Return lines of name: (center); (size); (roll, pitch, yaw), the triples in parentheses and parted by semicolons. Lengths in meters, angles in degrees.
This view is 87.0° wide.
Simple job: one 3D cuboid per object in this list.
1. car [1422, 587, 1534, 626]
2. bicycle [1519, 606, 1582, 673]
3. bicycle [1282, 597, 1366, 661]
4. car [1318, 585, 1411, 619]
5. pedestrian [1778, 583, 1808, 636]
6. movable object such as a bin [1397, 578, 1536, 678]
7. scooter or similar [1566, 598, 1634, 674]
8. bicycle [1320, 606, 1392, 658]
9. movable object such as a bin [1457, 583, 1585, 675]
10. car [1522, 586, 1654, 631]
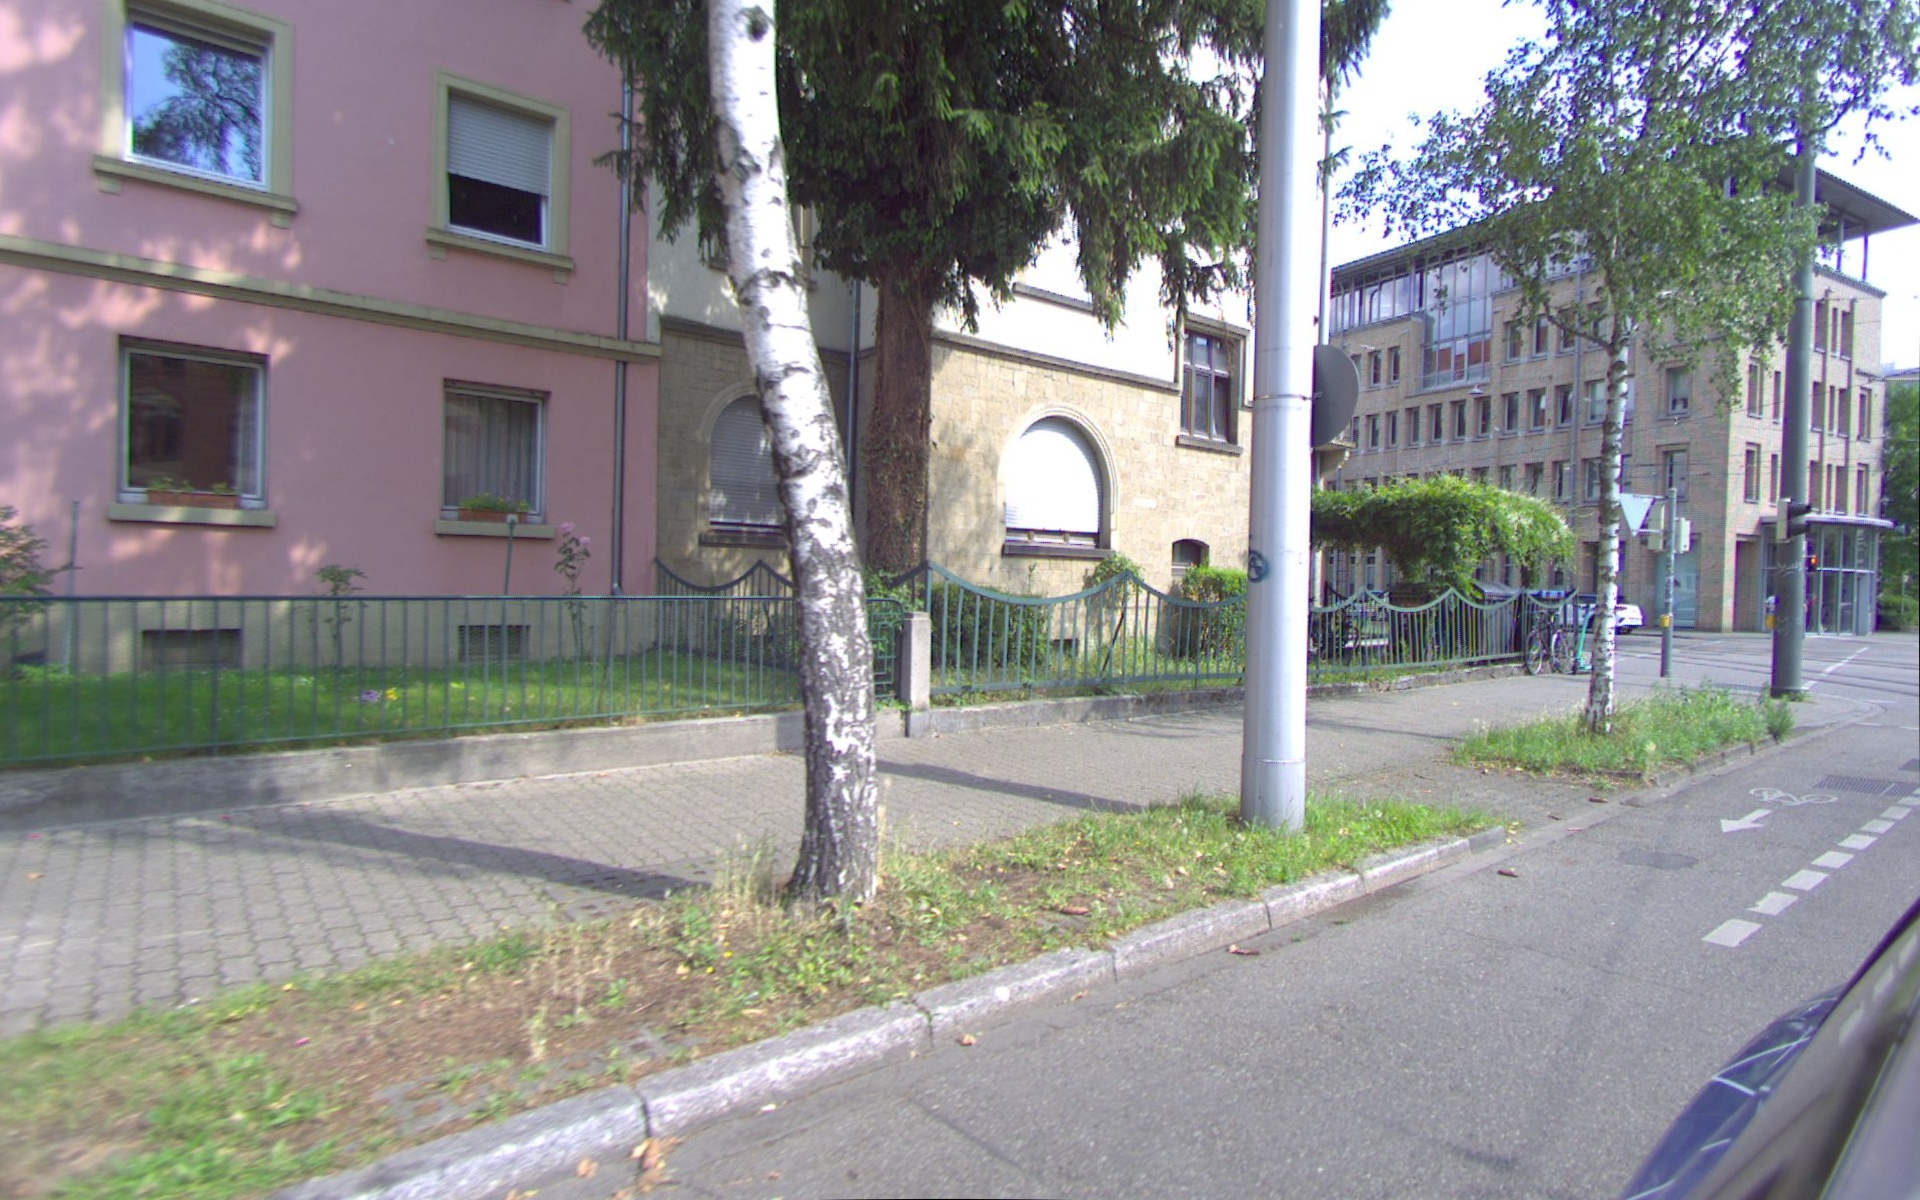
car: (21.997, 0.257, 43.137); (1.642, 1.440, 4.006); (3, 0, -28)
bicycle: (9.676, 0.635, 16.572); (1.454, 1.034, 0.350); (1, 4, -40)
bicycle: (6.287, 0.484, 17.516); (0.445, 1.015, 1.314); (1, 1, -39)
car: (19.289, 0.085, 48.415); (1.642, 1.440, 4.006); (3, 0, -28)
pedestrian: (29.574, 0.322, 35.954); (0.732, 1.866, 0.796); (1, 0, 36)
movable object such as a bin: (8.397, 0.435, 16.765); (1.963, 1.511, 1.306); (1, 1, -38)
scooter or similar: (10.679, 0.589, 16.885); (1.166, 1.193, 0.522); (1, 3, -38)
bicycle: (7.490, 0.584, 19.166); (0.445, 0.911, 1.169); (1, 1, -39)
movable object such as a bin: (10.035, 0.489, 18.095); (1.963, 1.511, 1.306); (1, 1, -38)
car: (24.169, 0.302, 39.103); (1.642, 1.566, 4.006); (2, 1, -28)
